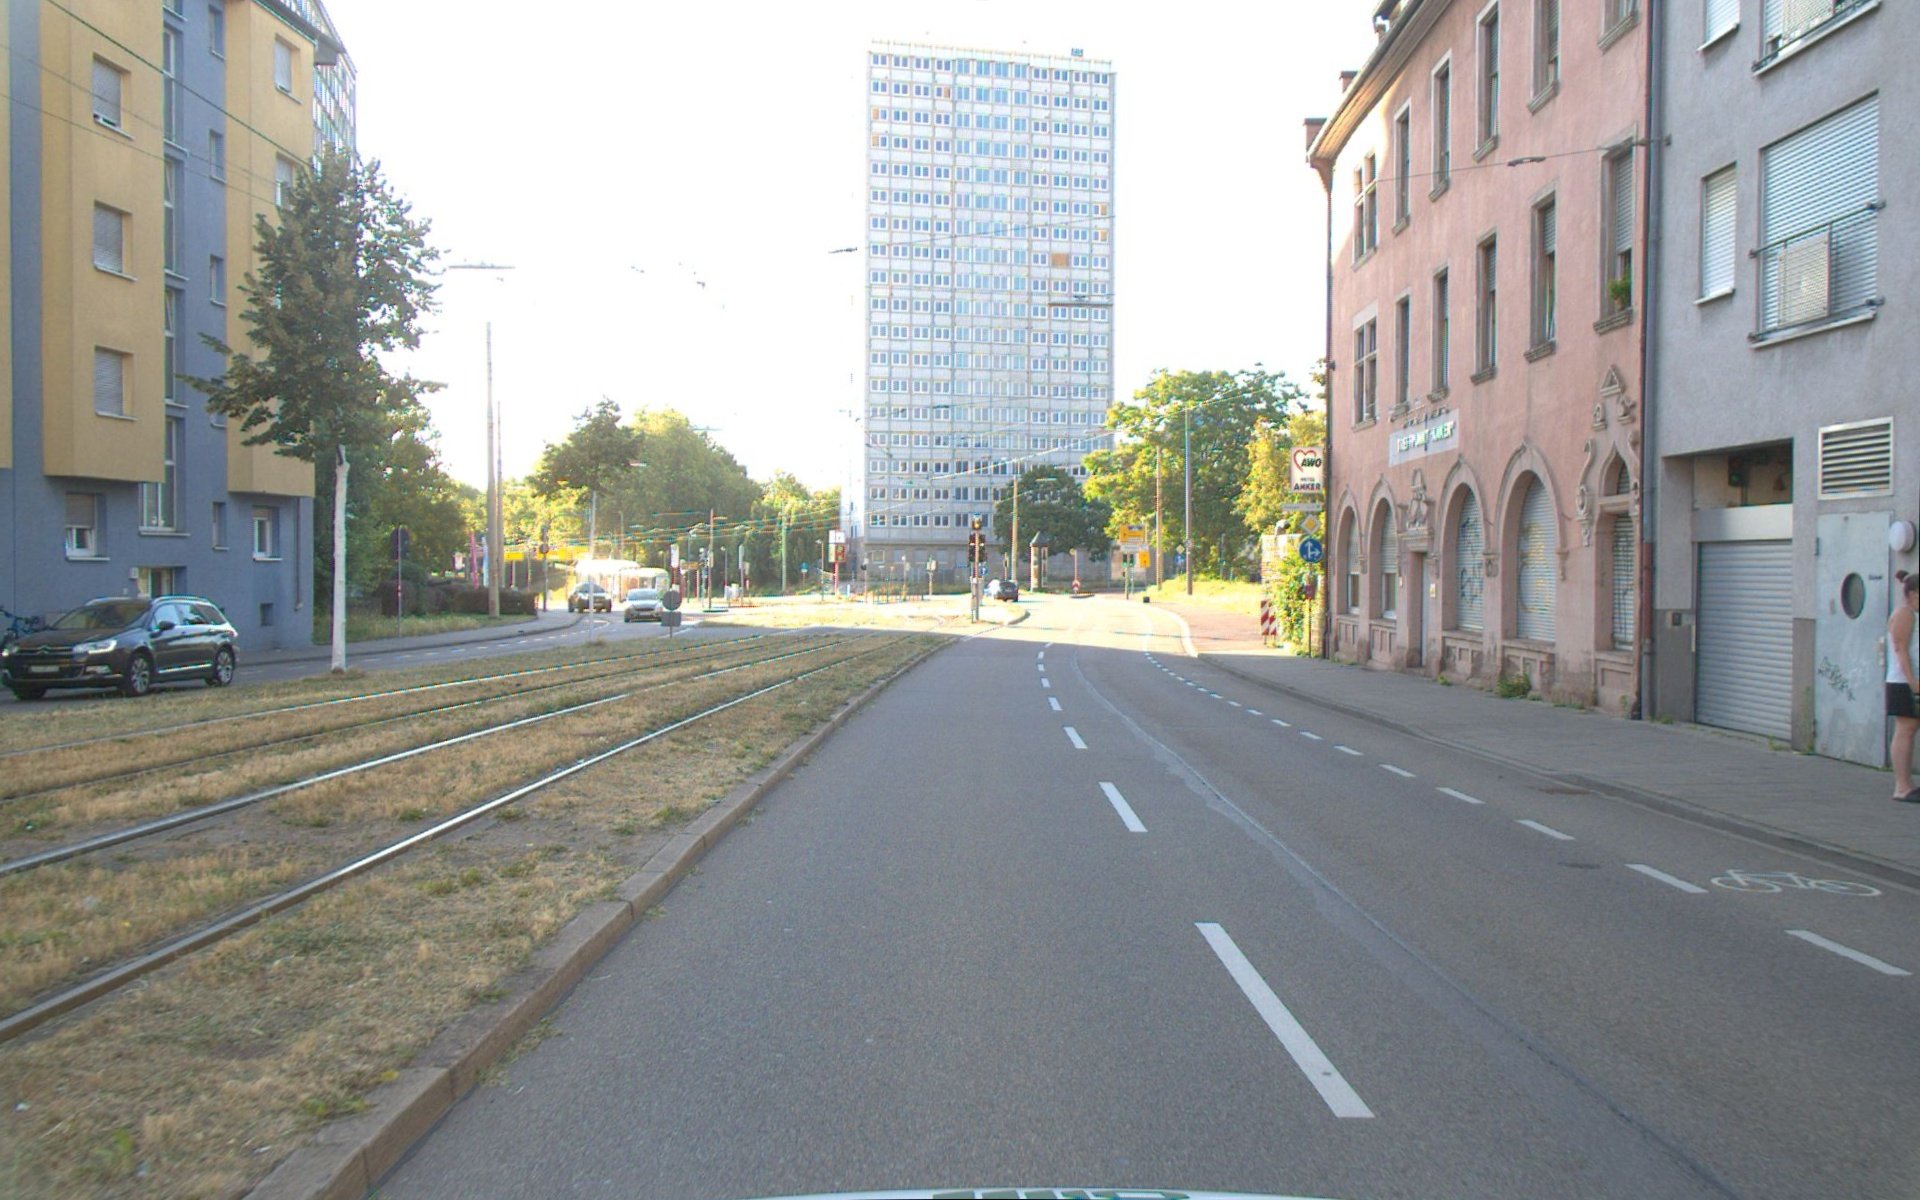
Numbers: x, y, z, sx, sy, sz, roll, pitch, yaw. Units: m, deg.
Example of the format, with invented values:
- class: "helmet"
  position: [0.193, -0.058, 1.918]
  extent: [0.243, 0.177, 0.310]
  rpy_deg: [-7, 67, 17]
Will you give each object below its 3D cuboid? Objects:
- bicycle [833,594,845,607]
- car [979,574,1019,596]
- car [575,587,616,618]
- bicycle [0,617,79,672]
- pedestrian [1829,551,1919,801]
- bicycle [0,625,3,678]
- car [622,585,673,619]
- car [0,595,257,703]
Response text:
- class: "bicycle"
  position: [-9.555, 0.054, 130.560]
  extent: [0.541, 0.933, 1.745]
  rpy_deg: [-2, 1, 8]
- class: "car"
  position: [2.639, -1.046, 113.387]
  extent: [1.743, 1.447, 3.840]
  rpy_deg: [-1, 1, -15]
- class: "car"
  position: [-21.435, 0.144, 97.208]
  extent: [1.888, 1.691, 4.685]
  rpy_deg: [-1, 1, -18]
- class: "bicycle"
  position: [-17.242, 0.817, 30.953]
  extent: [0.418, 0.976, 1.912]
  rpy_deg: [0, 0, 2]
- class: "pedestrian"
  position: [7.201, 0.539, 12.440]
  extent: [0.813, 1.802, 0.996]
  rpy_deg: [-1, 1, 1]
- class: "bicycle"
  position: [-17.335, 0.913, 28.545]
  extent: [0.418, 0.941, 1.912]
  rpy_deg: [3, 1, 2]
- class: "car"
  position: [-14.559, 0.089, 77.253]
  extent: [1.663, 1.485, 4.315]
  rpy_deg: [-2, 0, -2]
- class: "car"
  position: [-13.047, 0.707, 26.099]
  extent: [1.756, 1.494, 4.796]
  rpy_deg: [-2, 0, 1]
